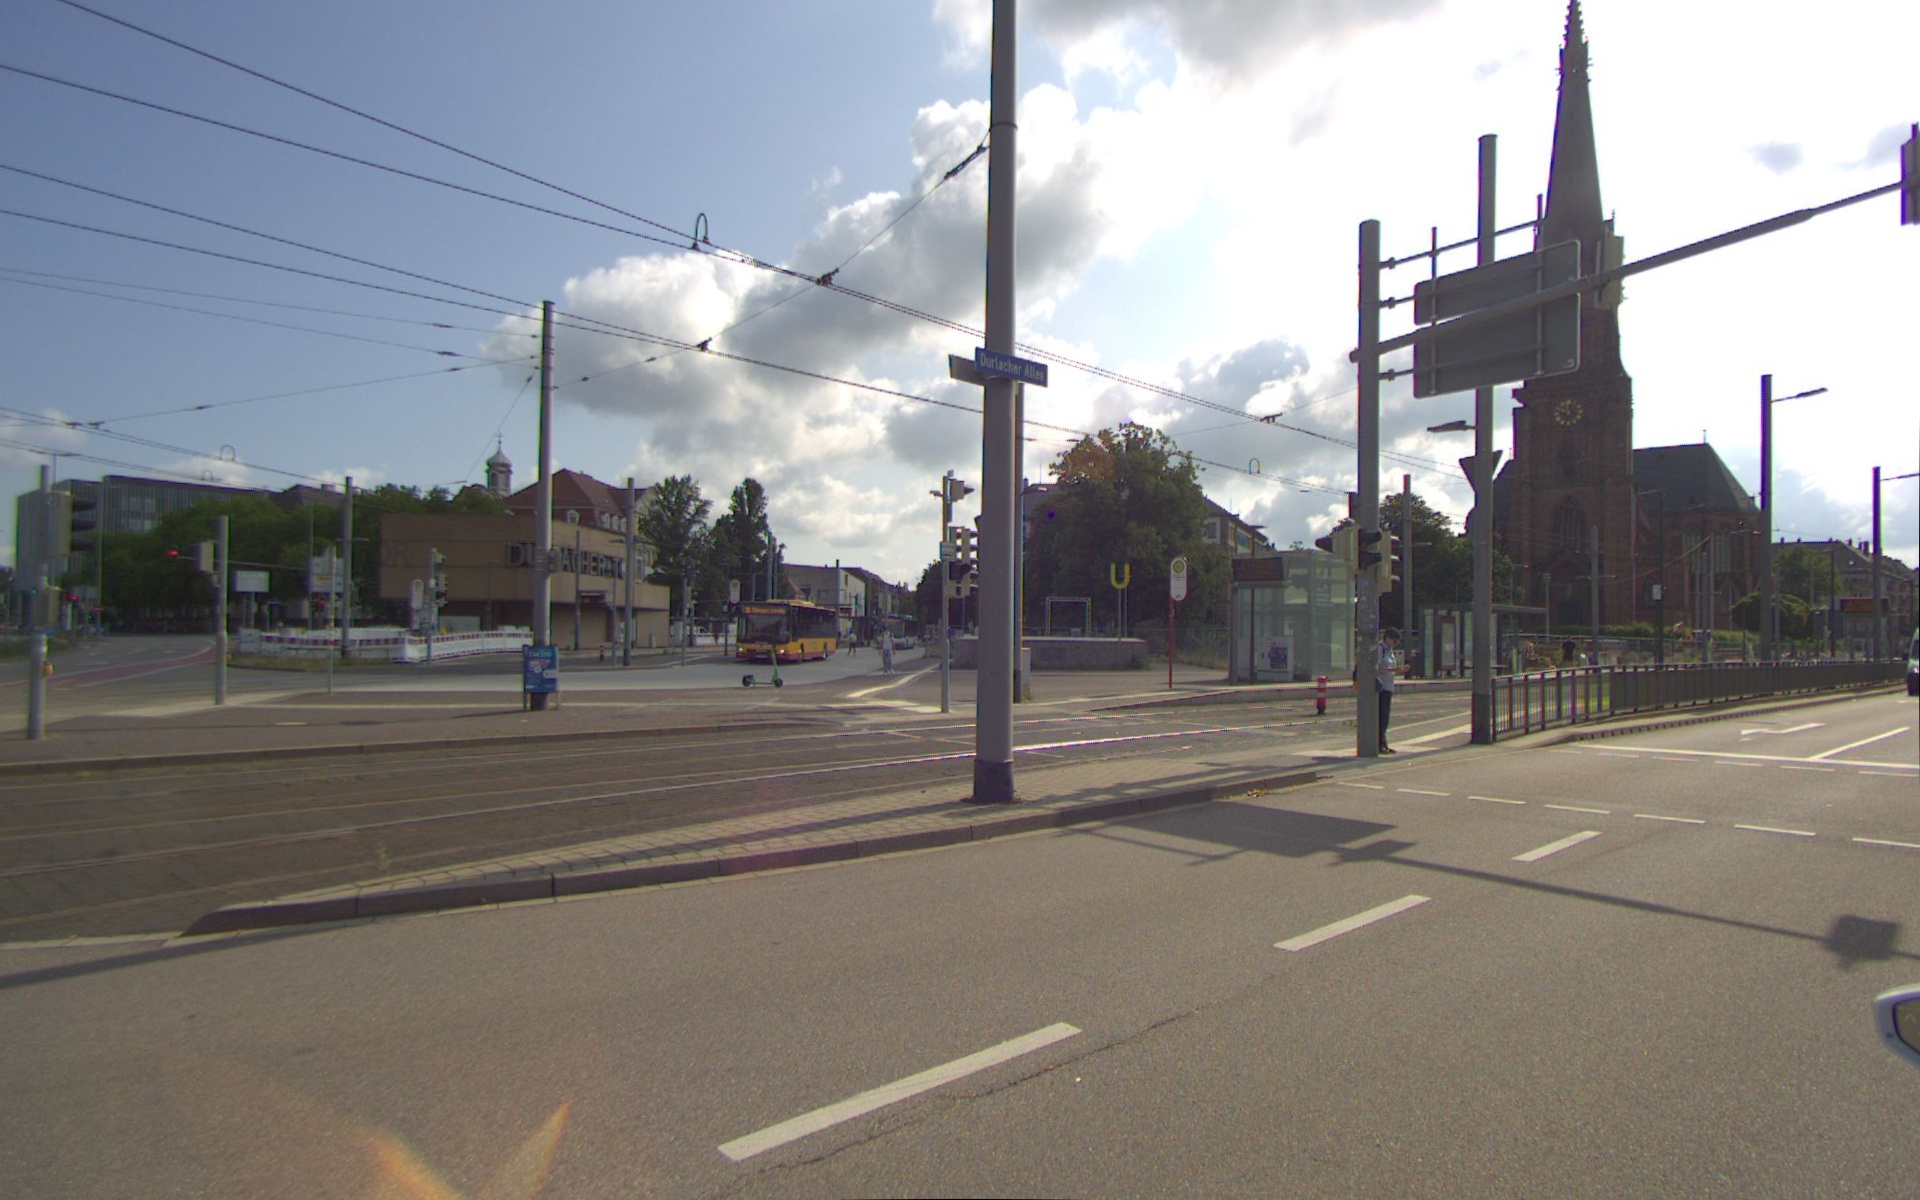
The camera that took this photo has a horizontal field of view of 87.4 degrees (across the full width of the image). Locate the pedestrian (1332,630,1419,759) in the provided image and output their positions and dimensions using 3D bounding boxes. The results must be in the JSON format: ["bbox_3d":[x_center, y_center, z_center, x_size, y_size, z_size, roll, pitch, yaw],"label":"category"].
[{"bbox_3d":[5.736,1.274,13.883,0.789,1.695,0.835,0,-2,-42],"label":"pedestrian"}]

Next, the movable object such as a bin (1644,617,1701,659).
[{"bbox_3d":[68.558,3.604,96.654,5.533,3.780,2.650,0,0,-33],"label":"movable object such as a bin"}]

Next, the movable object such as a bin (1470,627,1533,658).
[{"bbox_3d":[51.002,3.985,94.701,1.983,2.838,4.864,2,-2,-39],"label":"movable object such as a bin"}]

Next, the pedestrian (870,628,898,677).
[{"bbox_3d":[-2.766,1.918,36.786,0.911,1.712,1.097,0,1,1],"label":"pedestrian"}]

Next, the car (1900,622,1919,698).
[{"bbox_3d":[36.871,2.164,37.523,5.536,2.656,1.976,0,-2,-41],"label":"car"}]

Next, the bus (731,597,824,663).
[{"bbox_3d":[-8.482,1.429,47.525,2.646,2.871,7.104,1,-2,4],"label":"bus"}]

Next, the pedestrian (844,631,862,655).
[{"bbox_3d":[-6.909,2.758,64.779,0.838,1.542,0.797,0,-2,37],"label":"pedestrian"}]

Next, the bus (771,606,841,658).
[{"bbox_3d":[-8.116,1.703,53.608,2.647,2.621,5.080,1,-2,3],"label":"bus"}]

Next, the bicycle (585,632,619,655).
[{"bbox_3d":[-17.672,2.159,49.597,0.796,1.005,2.071,3,-4,2],"label":"bicycle"}]

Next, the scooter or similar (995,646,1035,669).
[{"bbox_3d":[2.318,2.421,42.292,1.630,0.962,0.474,1,-2,4],"label":"scooter or similar"}]

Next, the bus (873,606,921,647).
[{"bbox_3d":[-5.918,2.455,96.245,2.905,3.554,12.259,2,-1,4],"label":"bus"}]

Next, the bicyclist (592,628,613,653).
[{"bbox_3d":[-17.666,1.995,49.621,0.683,1.167,0.739,3,-4,2],"label":"bicyclist"}]

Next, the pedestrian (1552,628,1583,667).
[{"bbox_3d":[30.177,2.366,49.879,1.036,1.824,0.991,-3,3,-34],"label":"pedestrian"}]

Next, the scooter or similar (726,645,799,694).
[{"bbox_3d":[-5.408,1.899,27.495,1.482,1.204,1.324,5,-2,-38],"label":"scooter or similar"}]
